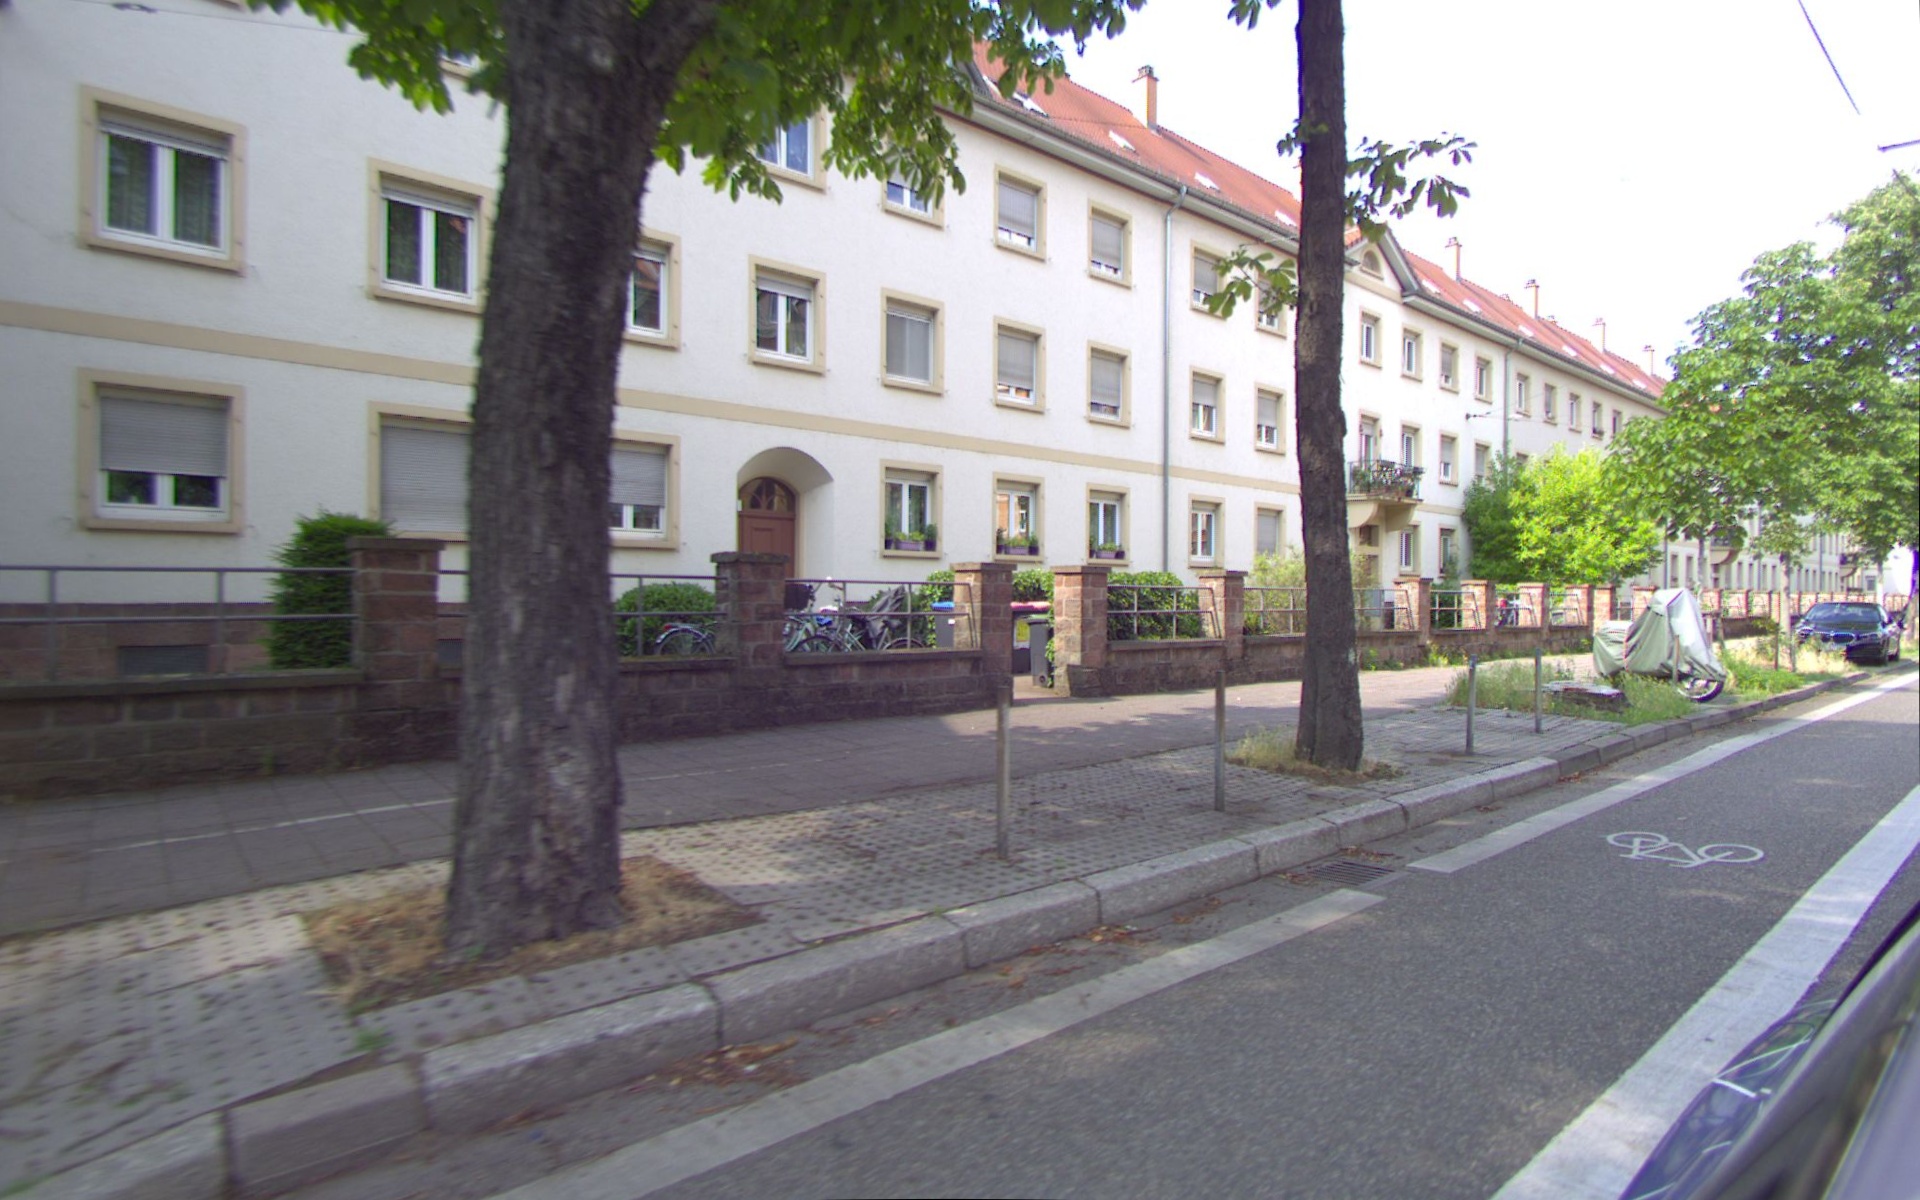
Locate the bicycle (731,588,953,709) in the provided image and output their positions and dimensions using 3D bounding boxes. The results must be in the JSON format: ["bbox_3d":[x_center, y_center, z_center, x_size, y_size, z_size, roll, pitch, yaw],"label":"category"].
[{"bbox_3d":[-1.268,0.486,11.426,2.553,1.206,0.653,-1,0,-41],"label":"bicycle"}]

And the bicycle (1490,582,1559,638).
[{"bbox_3d":[13.251,0.207,23.731,2.194,1.252,0.691,0,1,-41],"label":"bicycle"}]

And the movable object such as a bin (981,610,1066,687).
[{"bbox_3d":[0.828,0.611,13.206,0.739,0.928,0.830,0,0,-41],"label":"movable object such as a bin"}]

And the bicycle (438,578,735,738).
[{"bbox_3d":[-3.443,0.469,9.559,2.553,1.335,0.653,-1,0,-41],"label":"bicycle"}]

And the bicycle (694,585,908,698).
[{"bbox_3d":[-1.840,0.445,12.105,2.553,1.206,0.653,-1,0,-41],"label":"bicycle"}]

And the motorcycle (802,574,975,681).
[{"bbox_3d":[-0.989,0.348,14.672,2.553,1.432,0.752,-1,0,-41],"label":"motorcycle"}]

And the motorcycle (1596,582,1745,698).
[{"bbox_3d":[9.989,0.507,14.346,0.796,1.512,2.068,0,1,6],"label":"motorcycle"}]

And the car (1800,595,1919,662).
[{"bbox_3d":[21.244,0.611,23.824,3.931,1.405,1.692,0,1,-41],"label":"car"}]

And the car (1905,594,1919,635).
[{"bbox_3d":[35.486,0.506,36.479,3.931,1.405,1.692,0,1,-41],"label":"car"}]
